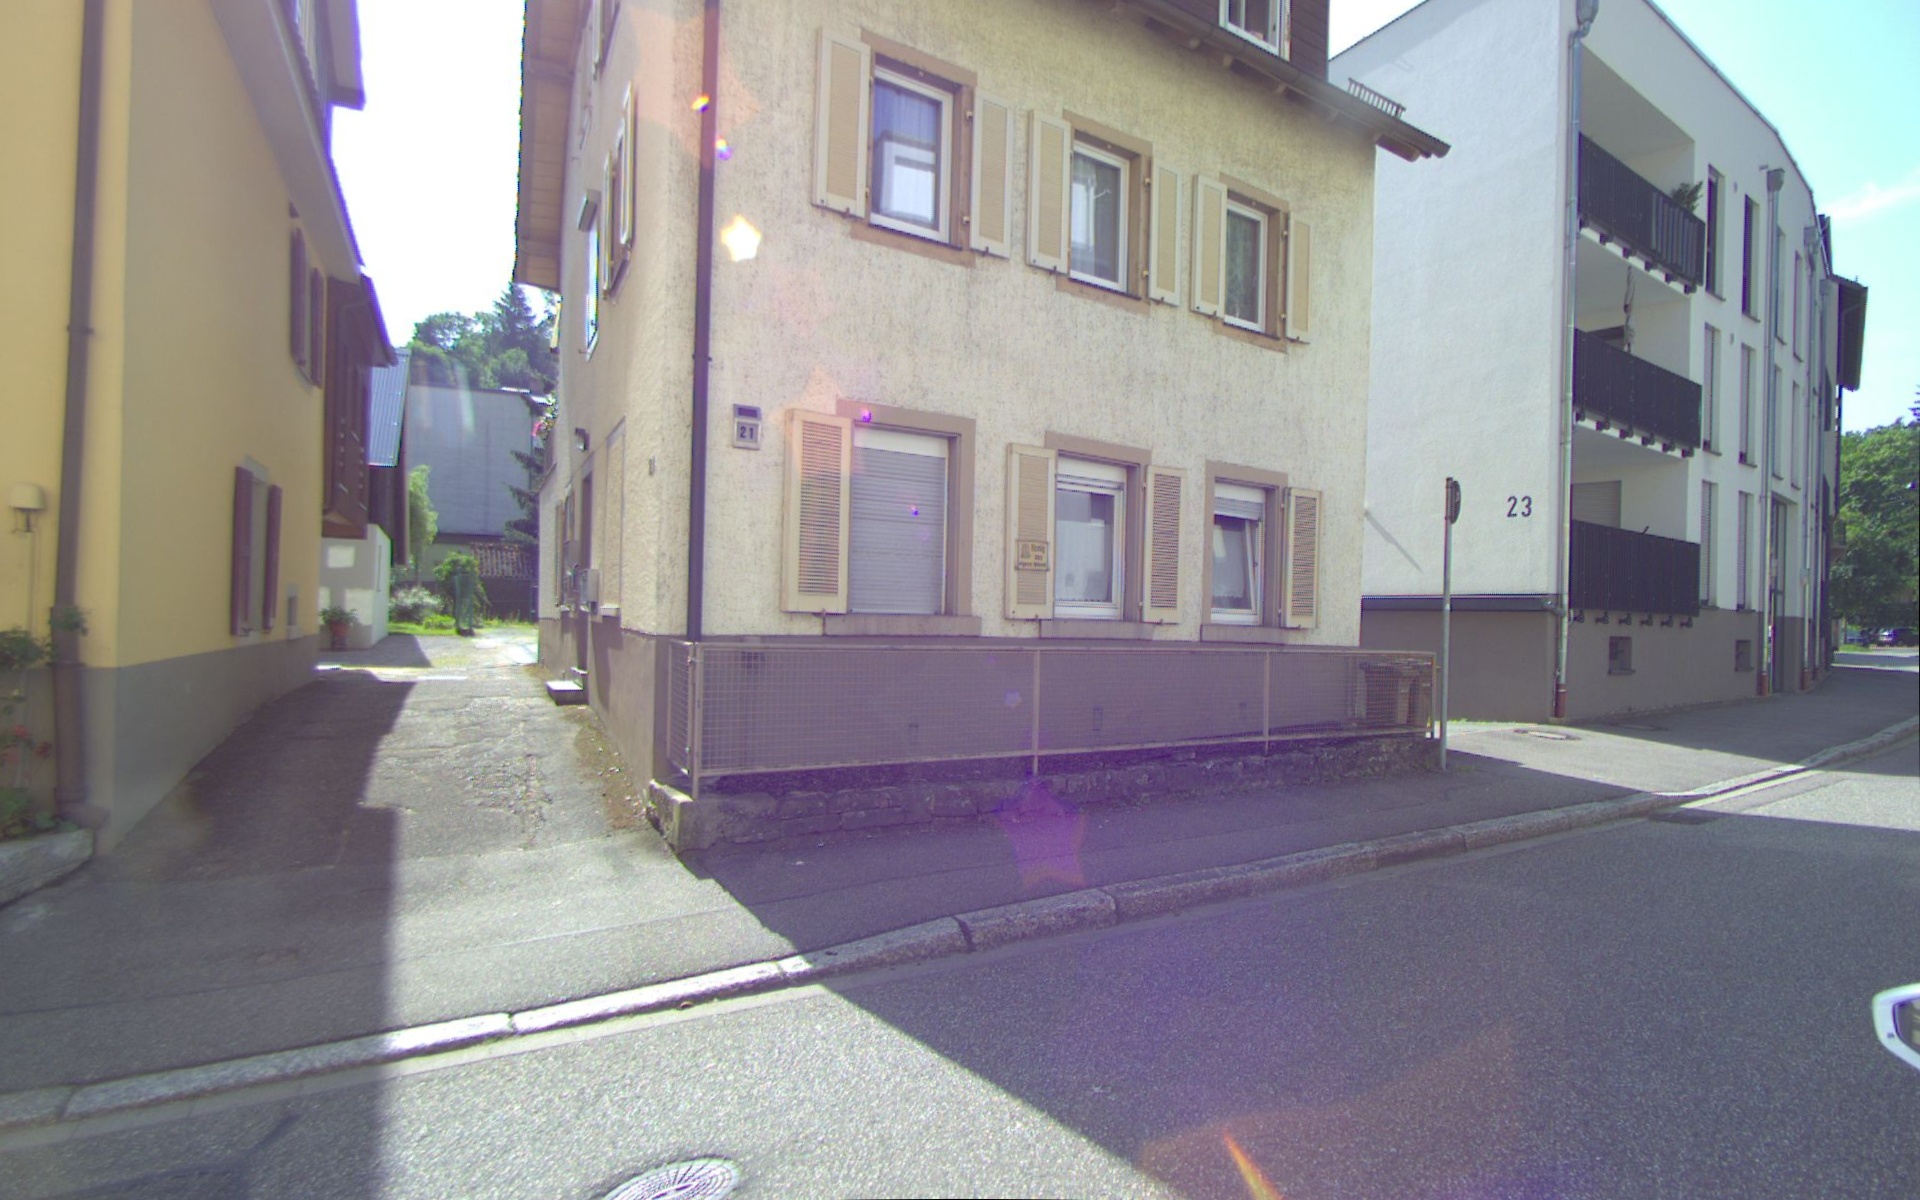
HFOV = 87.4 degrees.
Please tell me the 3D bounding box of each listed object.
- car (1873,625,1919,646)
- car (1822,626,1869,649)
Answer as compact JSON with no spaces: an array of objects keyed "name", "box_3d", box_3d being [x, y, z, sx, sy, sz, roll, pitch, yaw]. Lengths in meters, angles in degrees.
[{"name":"car","box_3d":[74.528,2.784,79.151,1.921,1.549,3.422,1,-1,-7]},{"name":"car","box_3d":[64.830,2.723,73.571,1.609,1.549,3.483,1,-1,25]}]
